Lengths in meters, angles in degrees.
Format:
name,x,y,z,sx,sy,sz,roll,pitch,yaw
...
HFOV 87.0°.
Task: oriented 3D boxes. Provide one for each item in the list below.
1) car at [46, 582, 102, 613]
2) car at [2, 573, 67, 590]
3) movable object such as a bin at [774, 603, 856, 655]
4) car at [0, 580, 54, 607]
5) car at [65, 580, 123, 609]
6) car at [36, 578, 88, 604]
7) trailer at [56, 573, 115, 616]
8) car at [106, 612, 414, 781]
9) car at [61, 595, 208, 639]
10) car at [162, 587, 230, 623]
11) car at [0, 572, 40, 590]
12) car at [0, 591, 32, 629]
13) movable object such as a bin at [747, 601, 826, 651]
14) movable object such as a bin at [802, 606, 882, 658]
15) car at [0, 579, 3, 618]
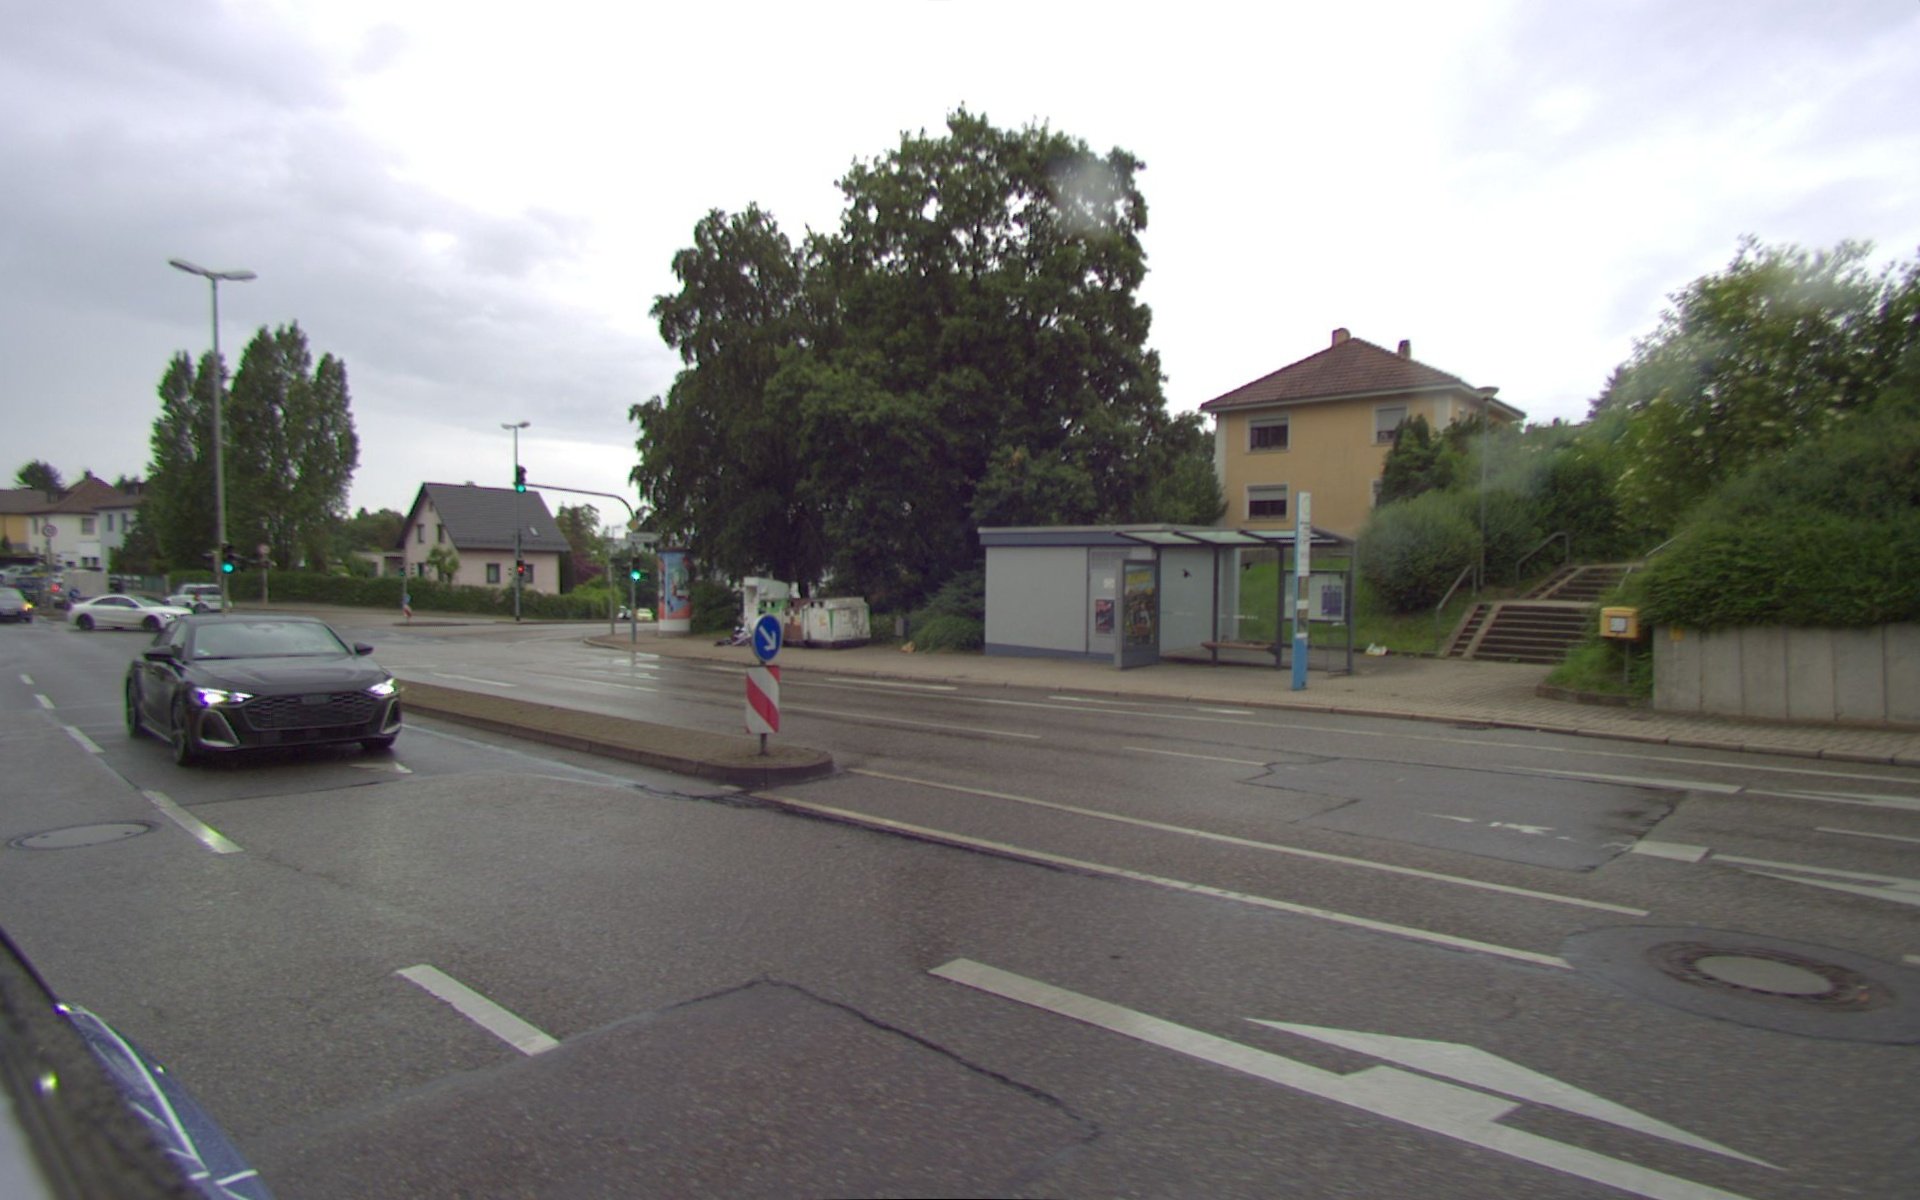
name,x,y,z,sx,sy,sz,roll,pitch,yaw
car,-49.939,-0.159,57.021,4.479,1.695,1.879,1,0,42
car,-83.694,-1.721,91.533,1.880,1.430,4.064,2,3,35
movable object such as a bin,-4.602,0.915,32.160,2.033,1.581,1.583,1,-1,-43
car,-57.863,-0.416,62.753,4.380,1.563,1.823,2,0,39
car,-55.623,-0.351,65.013,4.589,1.682,1.789,3,1,36
car,-61.294,-0.606,69.035,4.135,1.580,1.789,3,1,36
trailer,-46.784,-0.316,54.108,4.035,2.195,1.876,1,0,42
car,-7.837,0.859,11.105,4.858,1.408,1.884,0,0,44
car,-33.121,0.649,40.660,4.595,1.540,1.911,2,1,7
car,-38.901,0.239,51.515,4.463,1.669,1.805,2,0,40
car,-88.867,-1.825,94.443,1.832,1.495,4.073,1,-3,28
car,-41.880,0.420,44.041,4.058,1.498,1.816,3,1,42
movable object such as a bin,-5.714,0.847,33.312,2.033,1.581,1.583,1,-1,-43
movable object such as a bin,-3.616,0.962,31.072,2.033,1.526,1.345,1,-1,-44
car,-48.811,-0.171,49.755,4.741,1.885,1.932,2,0,39
